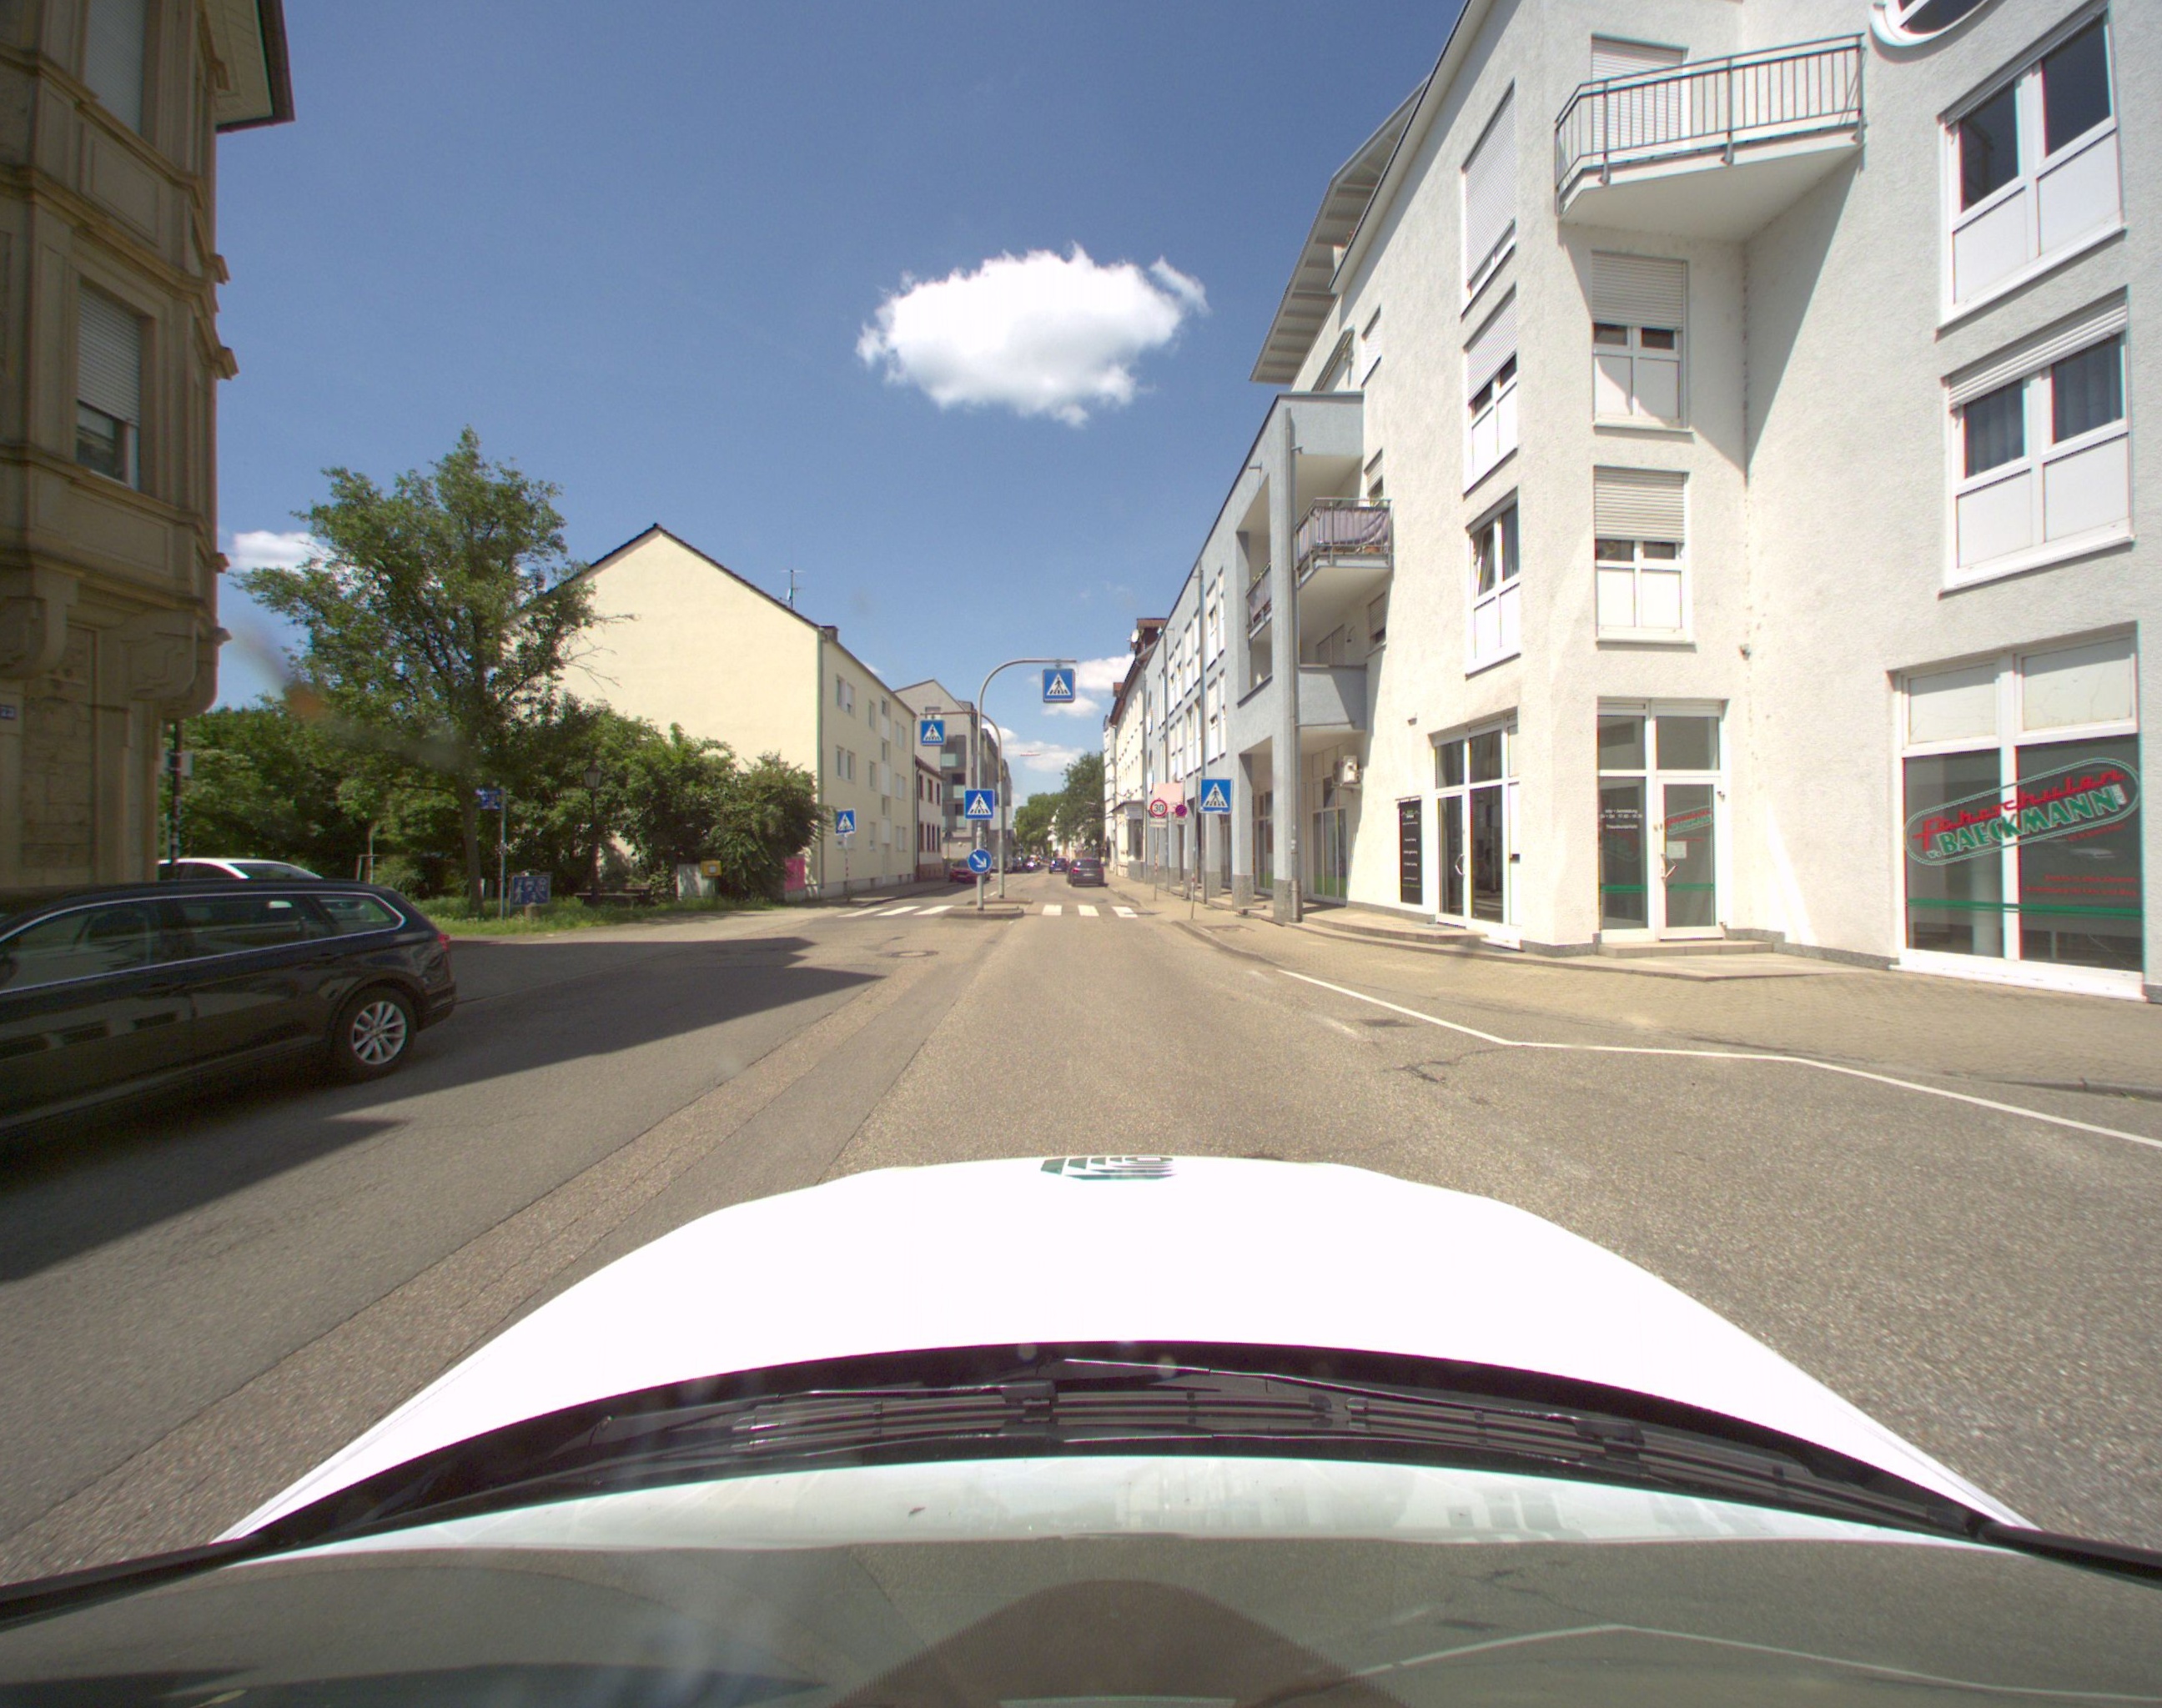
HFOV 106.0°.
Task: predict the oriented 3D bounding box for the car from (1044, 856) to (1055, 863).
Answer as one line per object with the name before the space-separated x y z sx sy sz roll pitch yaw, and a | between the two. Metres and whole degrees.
car | -7.372 1.292 191.038 1.993 1.618 3.987 0 0 -9

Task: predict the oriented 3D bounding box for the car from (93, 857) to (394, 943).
car | -16.034 0.837 15.740 3.970 1.502 1.871 0 0 3

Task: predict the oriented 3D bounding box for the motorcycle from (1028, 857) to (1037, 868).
motorcycle | -5.431 0.976 91.936 0.894 1.176 2.207 0 0 -1

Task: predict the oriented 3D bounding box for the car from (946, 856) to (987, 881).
car | -6.981 0.851 50.034 1.827 1.417 4.290 -1 0 1

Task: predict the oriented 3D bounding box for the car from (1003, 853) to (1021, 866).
car | -7.681 0.611 91.015 1.718 1.456 4.004 1 0 -1

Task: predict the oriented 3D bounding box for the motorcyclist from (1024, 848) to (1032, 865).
motorcyclist | -5.272 0.249 81.226 0.710 1.634 1.069 -1 0 2

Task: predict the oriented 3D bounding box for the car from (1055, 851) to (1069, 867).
car | -2.511 0.641 107.664 1.834 2.013 3.998 -1 1 -1

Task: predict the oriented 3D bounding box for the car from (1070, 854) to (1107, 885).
car | 0.352 0.786 42.816 1.706 1.508 3.995 -1 0 -3

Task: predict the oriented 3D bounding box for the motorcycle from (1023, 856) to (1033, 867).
motorcycle | -5.282 0.719 81.242 0.710 1.028 2.240 -1 0 2

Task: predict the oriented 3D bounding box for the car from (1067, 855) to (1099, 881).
car | 0.063 0.800 48.533 1.724 1.420 4.541 -1 0 -2

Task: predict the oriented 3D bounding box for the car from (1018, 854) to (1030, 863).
car | -8.798 0.672 125.540 1.728 1.442 3.996 -1 0 -2

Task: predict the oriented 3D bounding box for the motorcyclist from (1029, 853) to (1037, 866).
motorcyclist | -5.433 0.628 91.900 0.913 1.480 1.202 0 0 -2

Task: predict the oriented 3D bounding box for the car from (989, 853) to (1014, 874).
car | -7.510 0.868 77.437 1.750 1.892 4.339 2 0 2

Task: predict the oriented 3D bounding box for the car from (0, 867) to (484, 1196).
car | -5.847 0.853 4.399 1.777 1.458 4.634 -1 0 0

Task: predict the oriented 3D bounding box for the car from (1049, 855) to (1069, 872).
car | -1.972 0.835 74.034 1.711 1.402 3.998 -1 1 -1
